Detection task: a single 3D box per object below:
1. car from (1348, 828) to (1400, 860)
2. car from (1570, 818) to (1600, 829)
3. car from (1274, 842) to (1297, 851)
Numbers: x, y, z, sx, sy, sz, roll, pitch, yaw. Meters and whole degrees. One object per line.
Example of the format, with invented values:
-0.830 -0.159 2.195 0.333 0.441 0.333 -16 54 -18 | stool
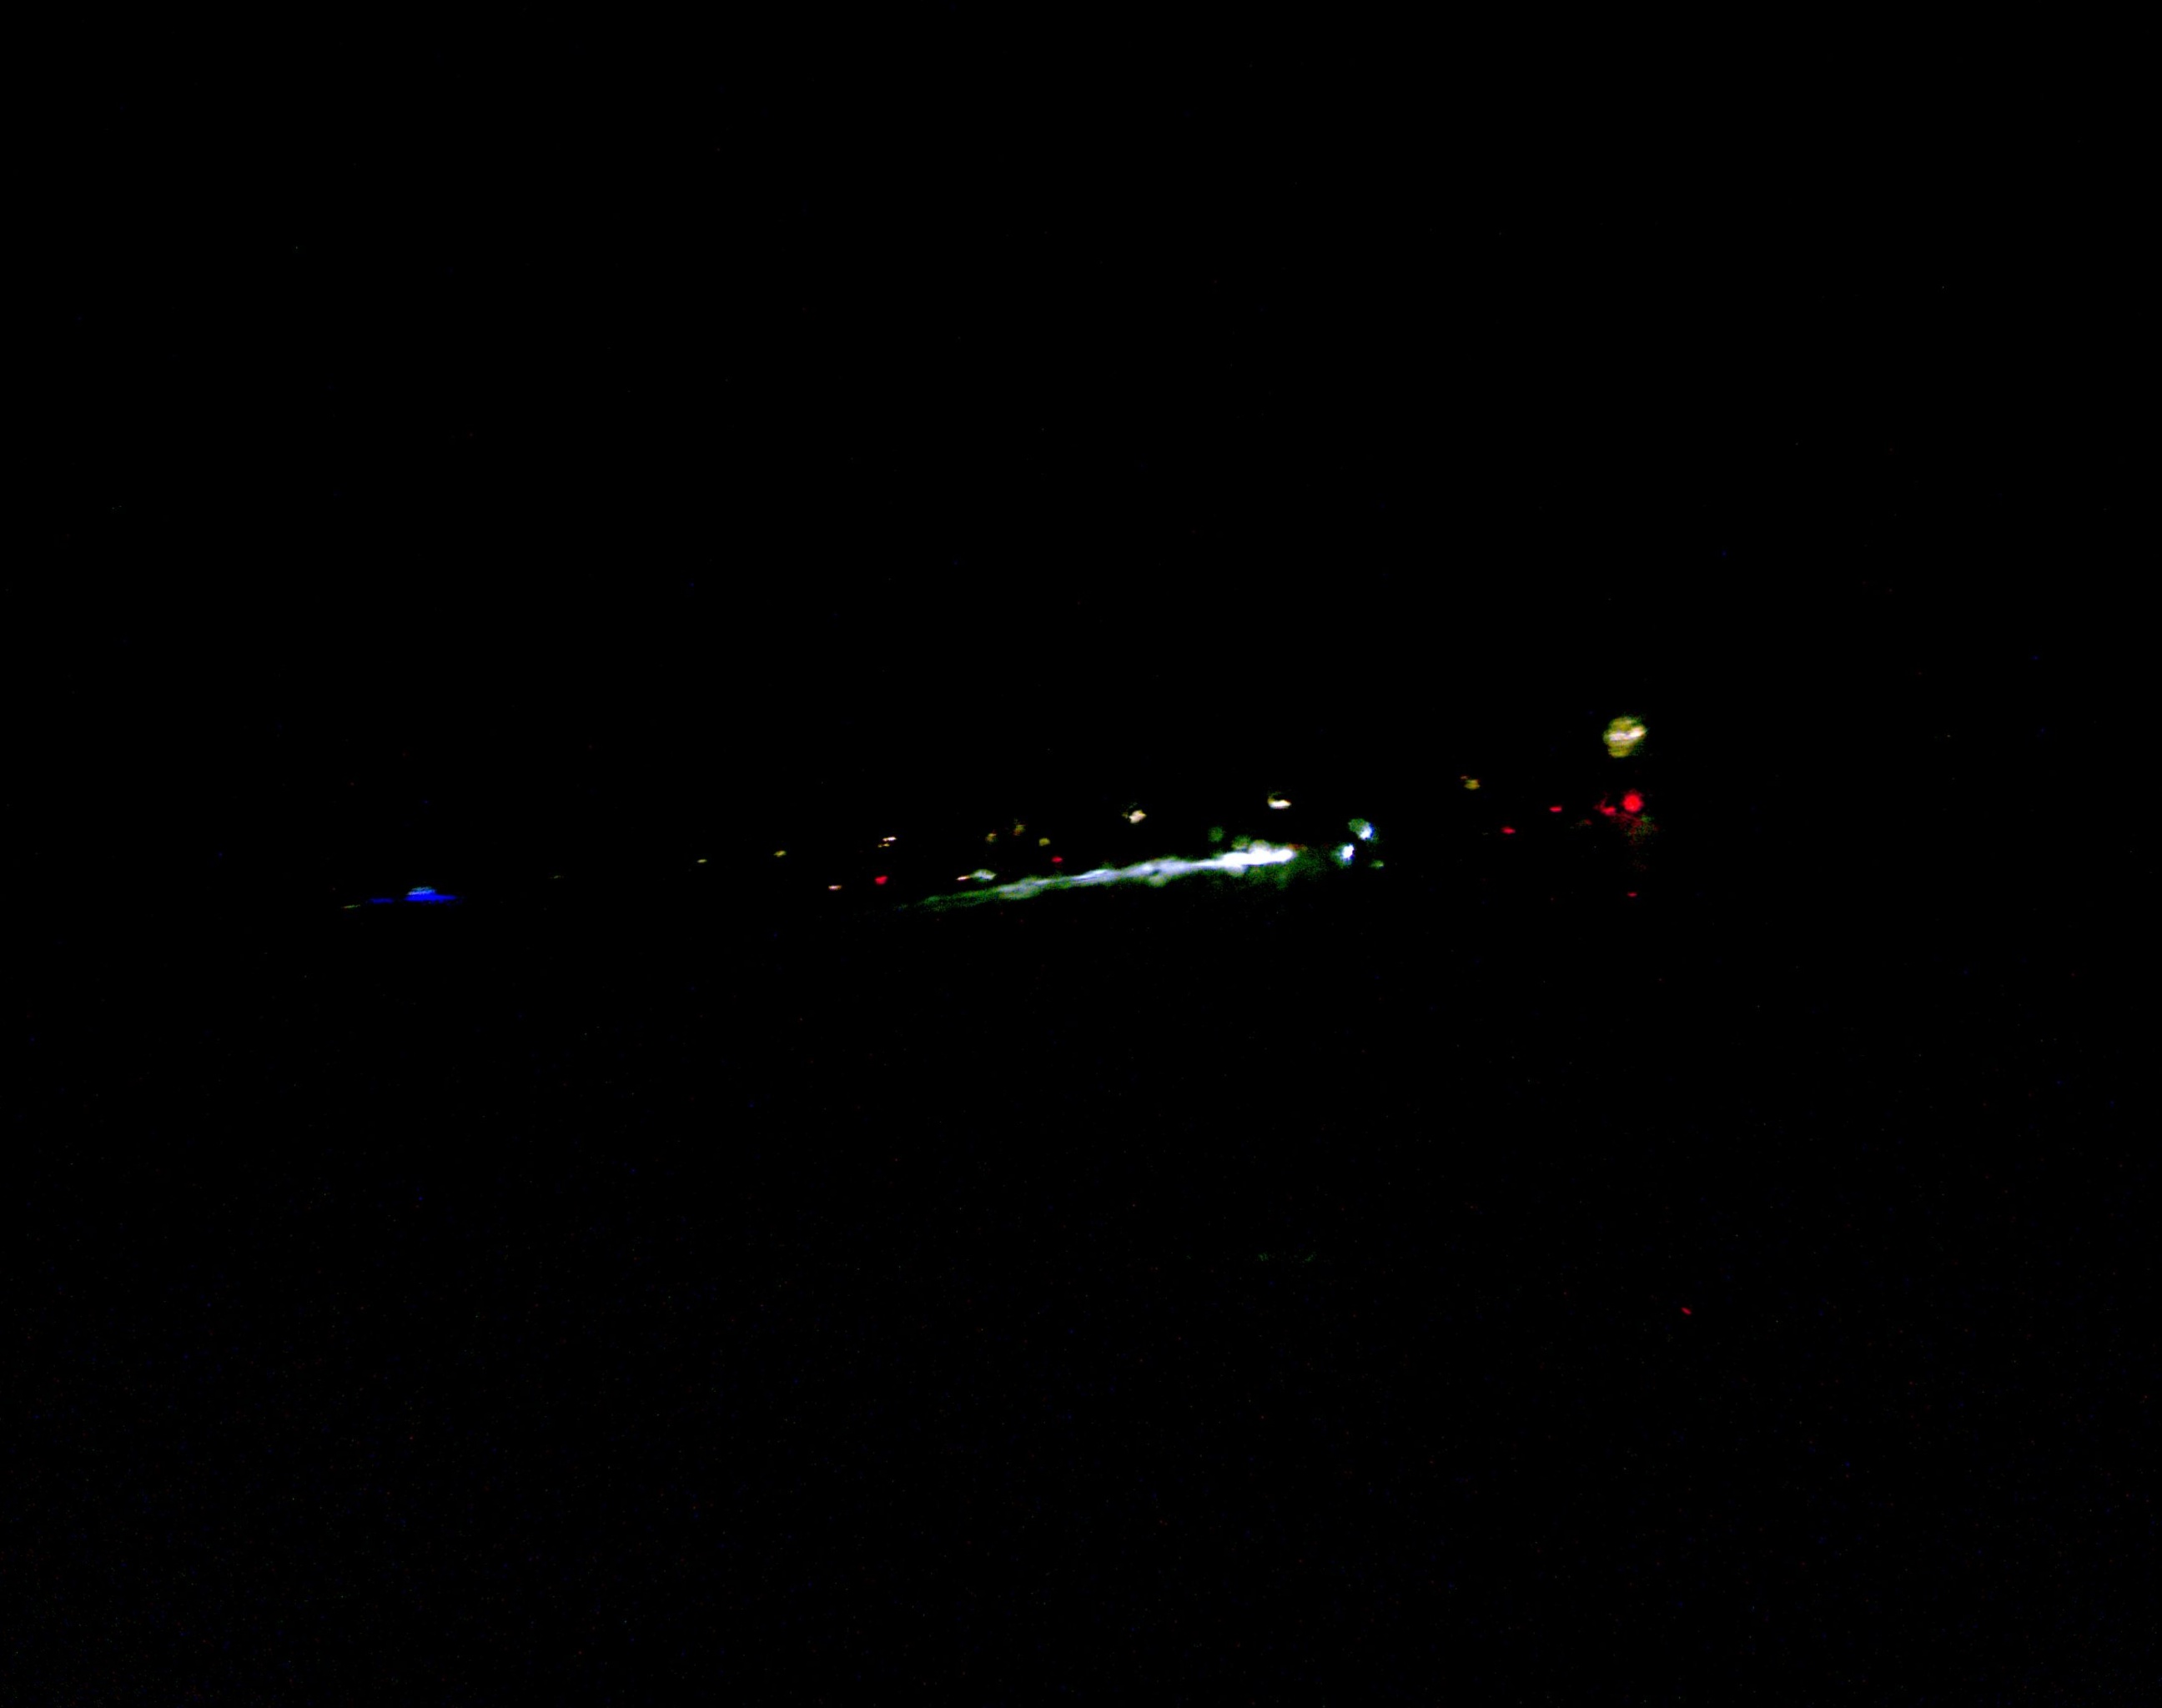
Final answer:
18.403 -0.668 47.687 1.995 1.737 4.107 -4 0 35 | car
87.480 -5.223 132.023 3.992 1.432 1.721 -5 -2 20 | car
38.950 -1.485 144.901 3.992 1.432 1.721 -4 -1 18 | car
